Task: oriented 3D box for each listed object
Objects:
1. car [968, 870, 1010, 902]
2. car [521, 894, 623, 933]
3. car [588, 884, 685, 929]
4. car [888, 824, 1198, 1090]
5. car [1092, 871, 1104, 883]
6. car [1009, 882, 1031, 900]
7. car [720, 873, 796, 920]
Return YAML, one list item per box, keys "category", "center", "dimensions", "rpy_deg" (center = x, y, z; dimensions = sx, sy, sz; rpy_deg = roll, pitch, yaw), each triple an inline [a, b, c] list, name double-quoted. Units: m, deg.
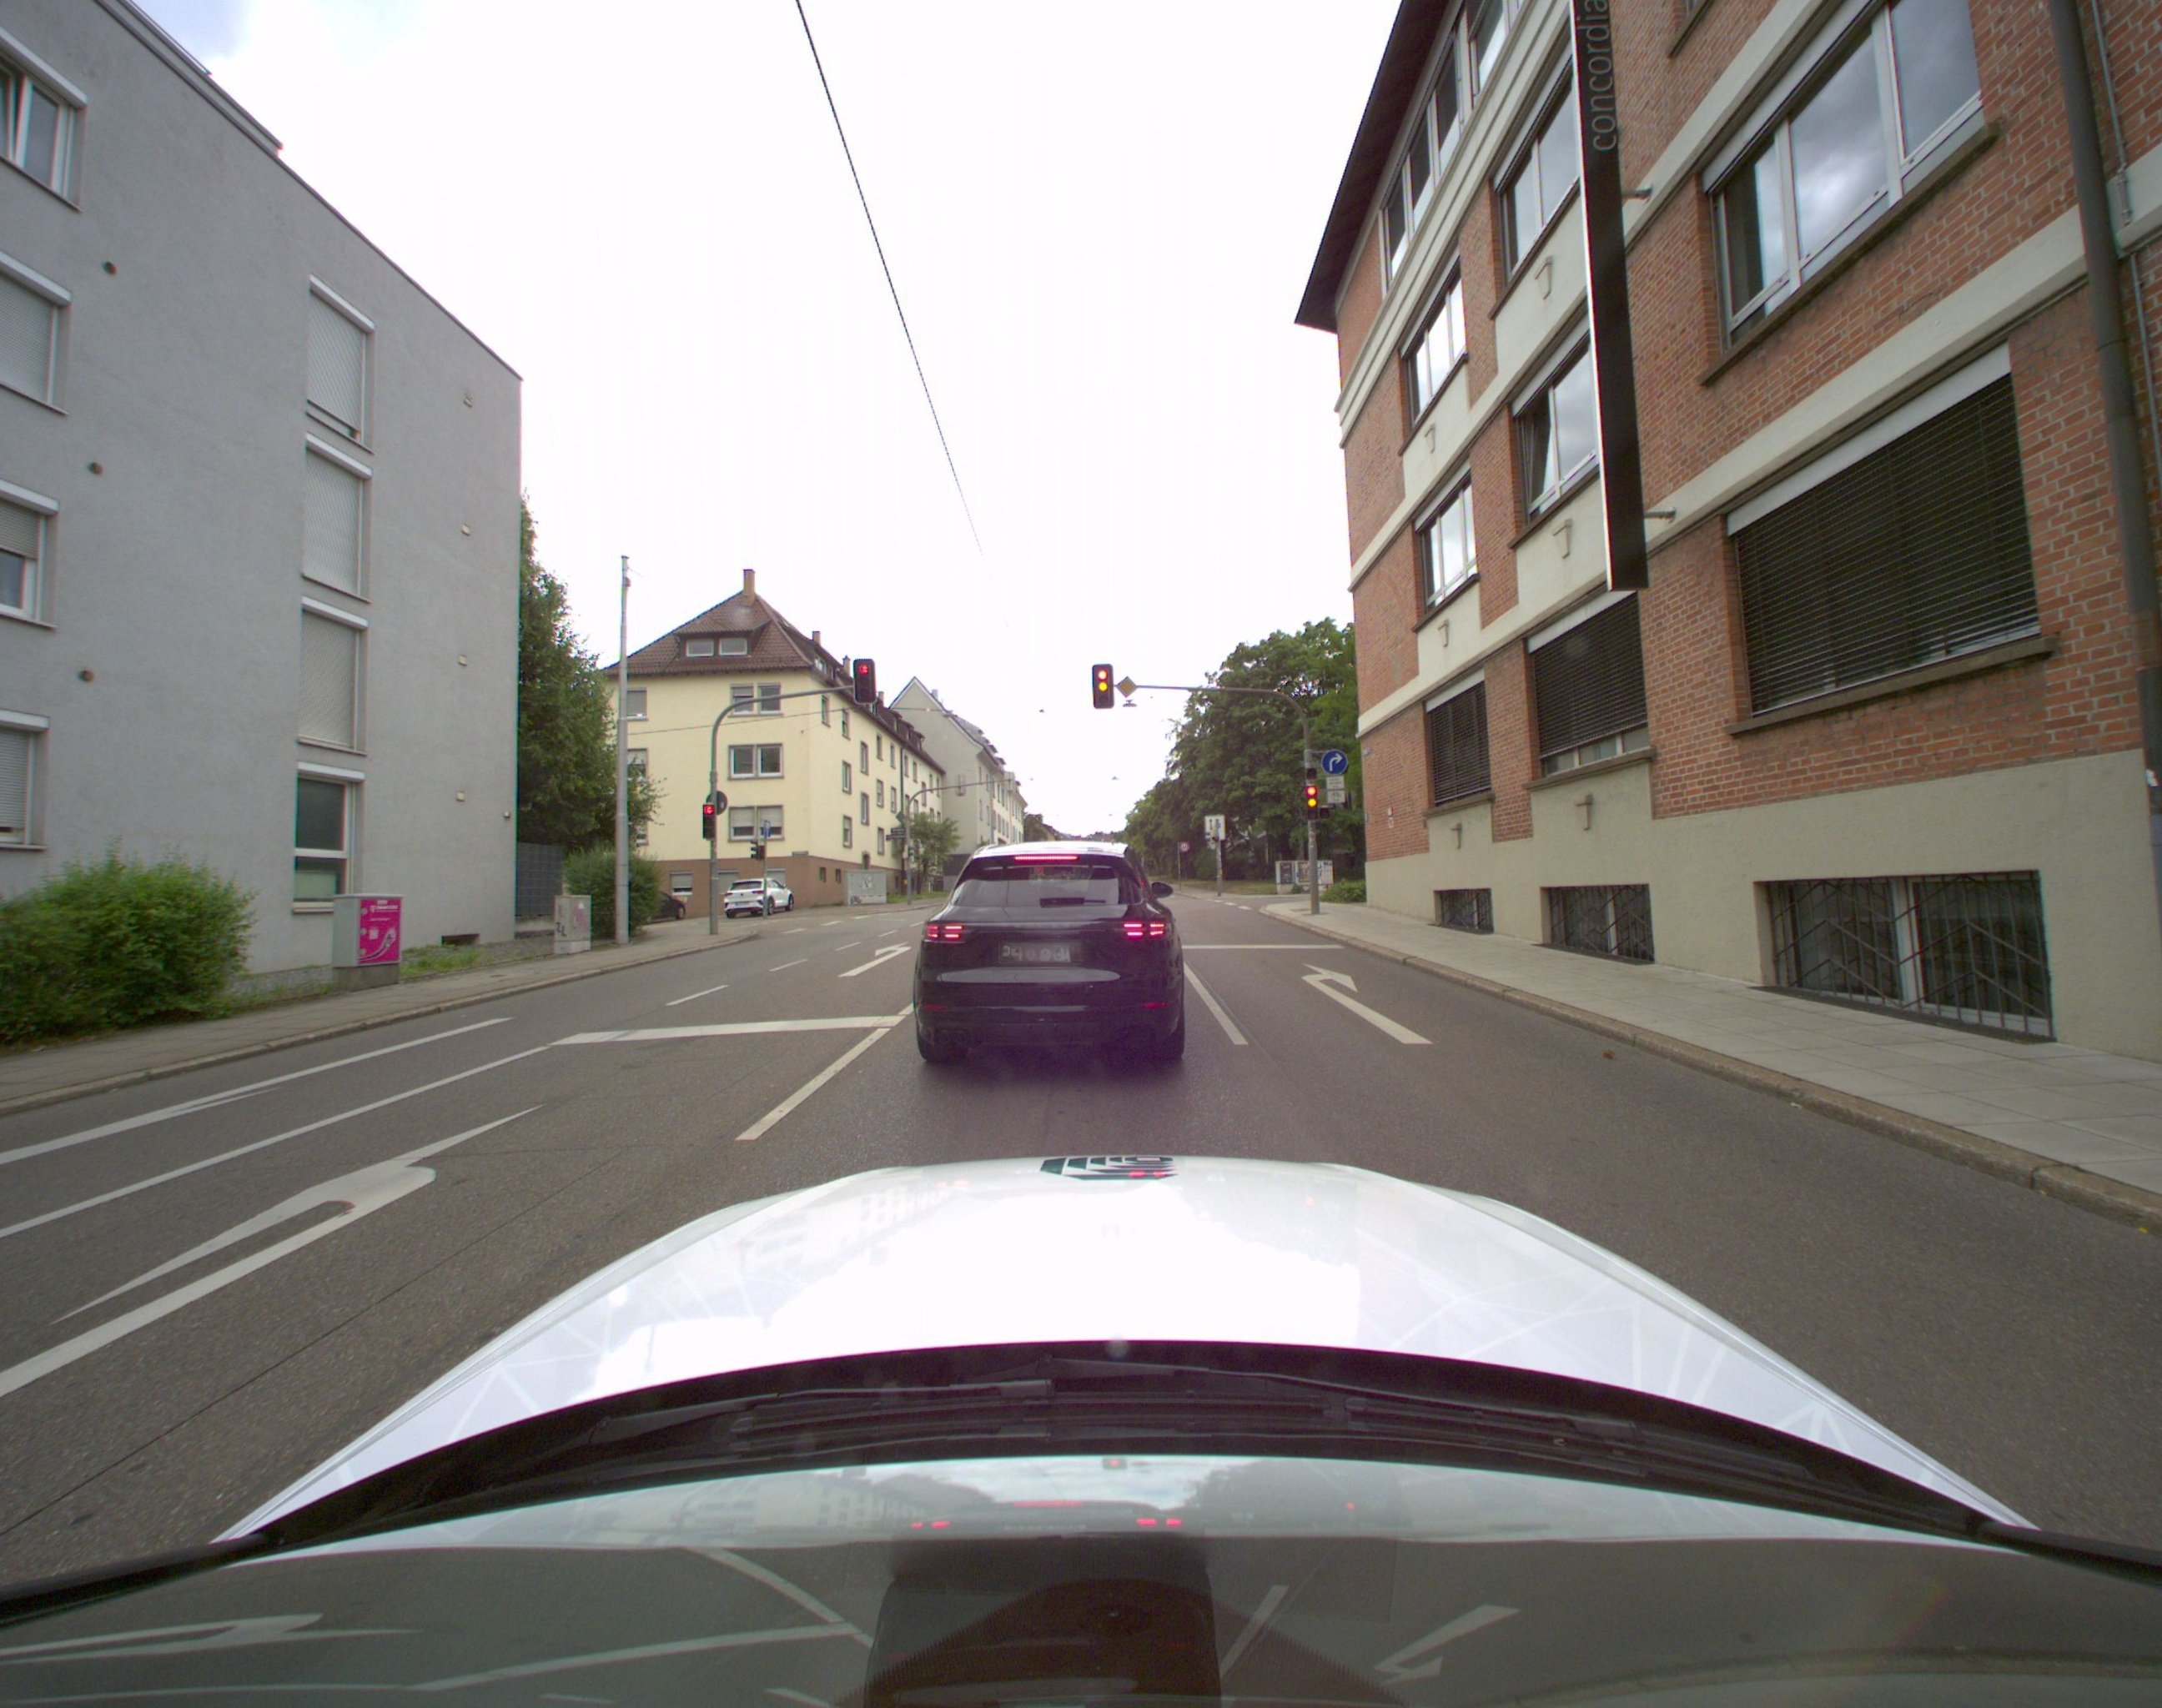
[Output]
- category: "car"
  center: [-5.121, 1.750, 45.741]
  dimensions: [1.657, 1.519, 3.742]
  rpy_deg: [-5, -1, 2]
- category: "car"
  center: [-21.284, 2.457, 34.232]
  dimensions: [1.663, 1.362, 4.001]
  rpy_deg: [-1, -1, 2]
- category: "car"
  center: [-18.614, 2.168, 34.325]
  dimensions: [1.664, 1.546, 4.103]
  rpy_deg: [-5, -1, 2]
- category: "car"
  center: [-0.186, 0.676, 7.238]
  dimensions: [1.986, 1.697, 4.001]
  rpy_deg: [0, -1, 2]
- category: "car"
  center: [2.446, 3.315, 117.685]
  dimensions: [1.683, 1.552, 3.888]
  rpy_deg: [0, -1, 0]
- category: "car"
  center: [-5.213, 3.171, 69.859]
  dimensions: [1.665, 1.362, 3.998]
  rpy_deg: [-1, -1, -1]
- category: "car"
  center: [-13.563, 1.732, 34.444]
  dimensions: [1.666, 1.662, 3.996]
  rpy_deg: [-4, 0, -3]
